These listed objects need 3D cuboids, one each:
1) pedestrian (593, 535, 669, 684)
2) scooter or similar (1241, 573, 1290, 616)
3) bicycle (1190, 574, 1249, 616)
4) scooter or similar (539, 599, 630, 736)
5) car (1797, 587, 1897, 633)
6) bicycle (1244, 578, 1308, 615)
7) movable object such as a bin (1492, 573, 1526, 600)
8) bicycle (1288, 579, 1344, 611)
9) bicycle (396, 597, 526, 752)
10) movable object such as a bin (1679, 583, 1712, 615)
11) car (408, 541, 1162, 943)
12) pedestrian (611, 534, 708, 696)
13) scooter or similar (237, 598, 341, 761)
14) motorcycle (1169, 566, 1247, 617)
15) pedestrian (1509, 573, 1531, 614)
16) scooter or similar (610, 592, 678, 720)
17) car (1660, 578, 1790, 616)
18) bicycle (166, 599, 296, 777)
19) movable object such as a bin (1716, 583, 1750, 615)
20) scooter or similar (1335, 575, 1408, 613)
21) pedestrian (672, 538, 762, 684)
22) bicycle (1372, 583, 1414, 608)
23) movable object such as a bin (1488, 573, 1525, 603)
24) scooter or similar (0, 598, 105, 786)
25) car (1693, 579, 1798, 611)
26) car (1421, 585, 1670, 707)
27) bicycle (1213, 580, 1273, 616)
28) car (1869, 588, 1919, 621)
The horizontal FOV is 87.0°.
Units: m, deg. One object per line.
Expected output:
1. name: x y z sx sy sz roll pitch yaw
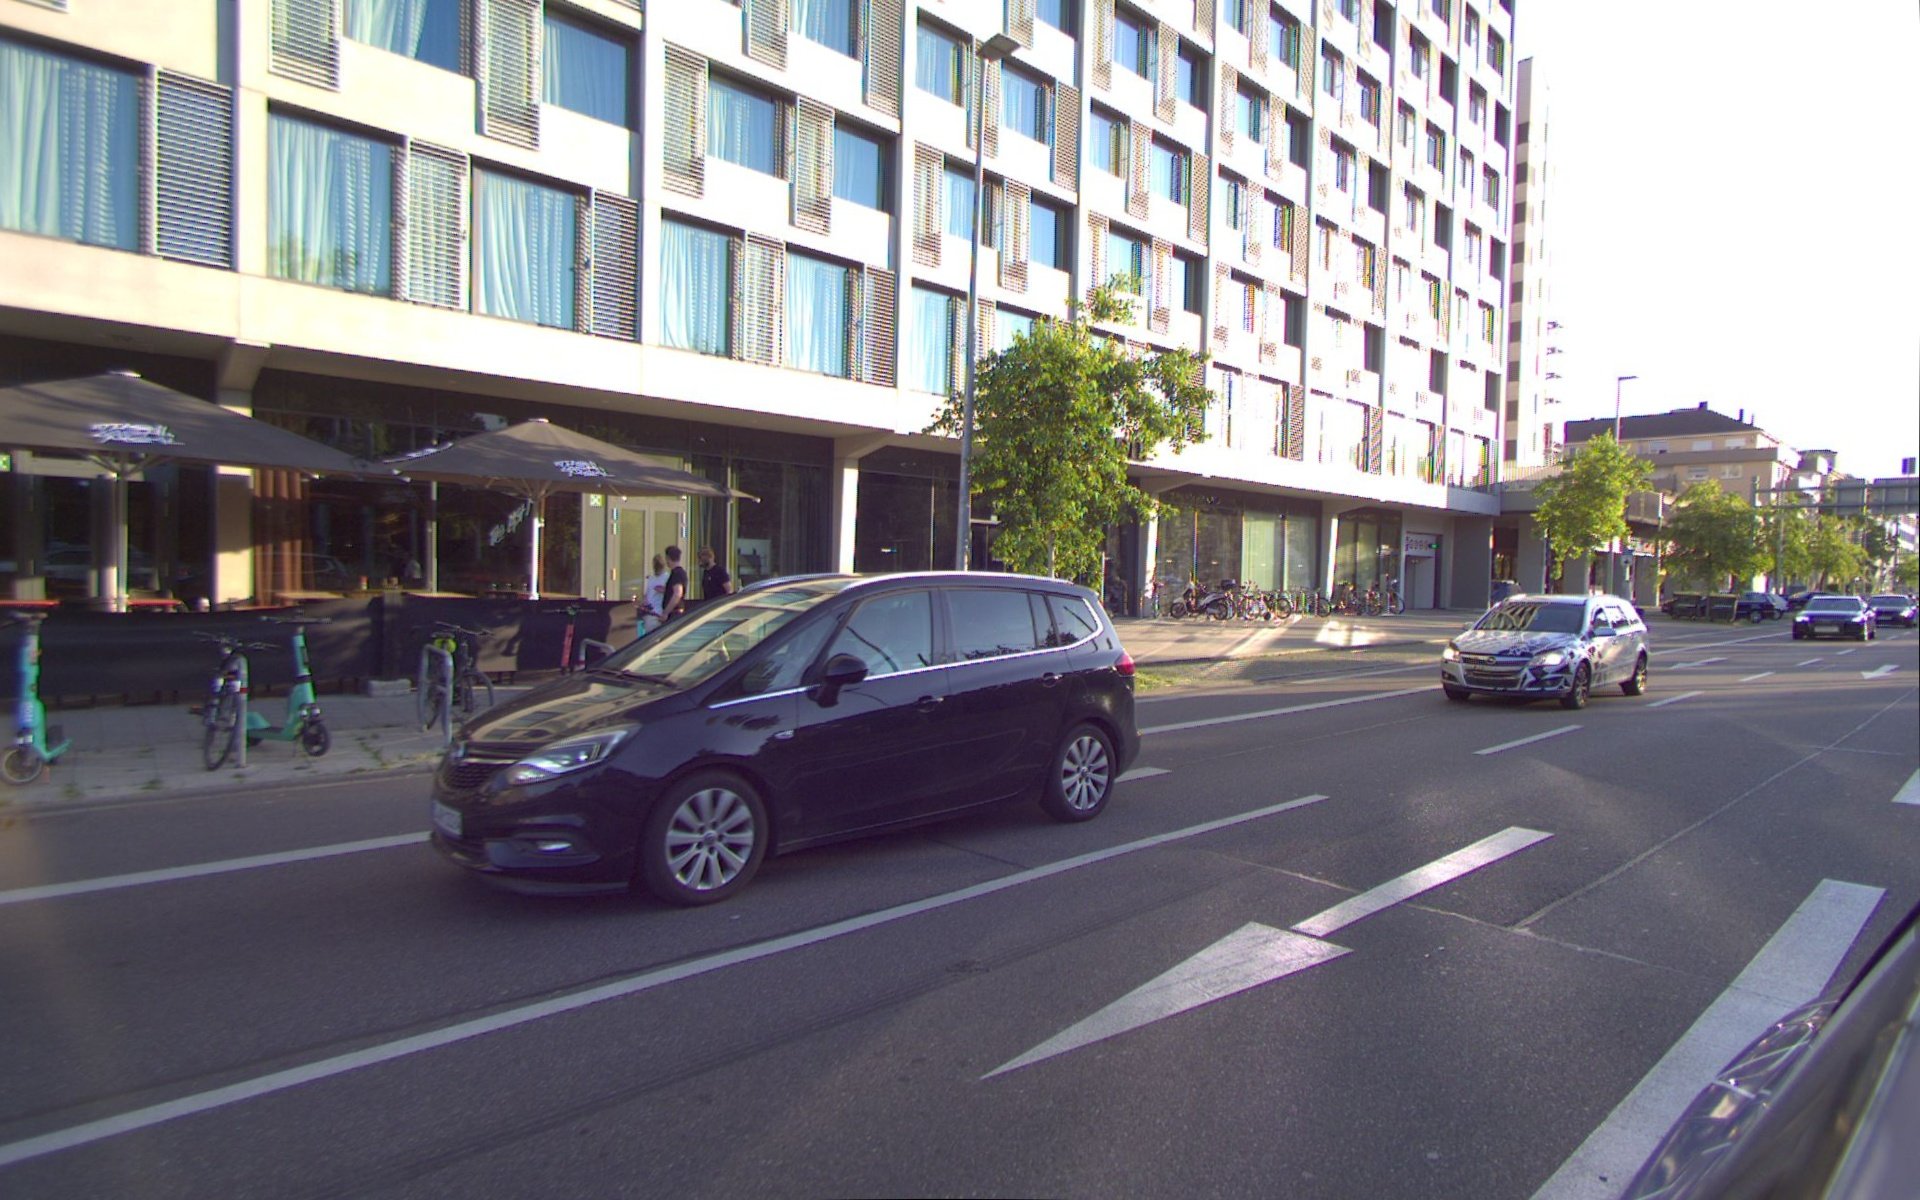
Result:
1. pedestrian: -4.236 0.107 13.006 0.762 1.833 0.621 0 5 -33
2. scooter or similar: 9.517 -0.184 31.514 1.268 1.248 0.599 5 3 44
3. bicycle: 7.971 -0.169 31.091 1.602 1.168 0.604 4 3 36
4. scooter or similar: -3.818 0.645 10.257 0.501 1.205 1.159 -2 5 -40
5. car: 28.933 0.302 32.972 4.202 1.413 1.913 0 0 -41
6. bicycle: 10.195 -0.127 32.691 0.556 1.022 1.888 0 5 -44
7. movable object such as a bin: 28.083 -0.703 51.758 1.283 1.315 1.183 0 2 -44
8. bicycle: 12.160 -0.178 34.601 0.542 0.998 1.701 0 4 -45
9. bicycle: -4.762 0.641 9.589 0.598 1.196 1.850 0 4 -42
10. movable object such as a bin: 33.760 -0.038 46.426 1.014 1.363 1.143 6 4 43
11. car: -0.784 0.555 6.223 4.293 1.619 1.825 0 0 -43
12. pedestrian: -3.672 0.151 12.355 0.922 1.871 0.747 0 4 -33
13. scooter or similar: -5.778 0.636 8.688 1.210 1.216 0.472 5 4 43
14. motorcycle: 7.421 -0.272 30.312 2.105 1.403 0.664 4 2 34
15. pedestrian: 23.406 -0.271 42.274 0.576 1.638 0.632 5 3 45
16. scooter or similar: -3.448 0.575 10.991 0.521 1.228 1.134 -1 4 -27
17. car: 37.315 -0.174 49.474 4.592 1.526 1.936 3 3 9
18. bicycle: -6.109 0.663 8.442 1.794 1.208 0.559 6 4 44
19. movable object such as a bin: 34.741 -0.051 45.475 1.084 1.317 1.341 5 4 41
20. scooter or similar: 14.878 -0.235 36.630 0.610 1.197 2.376 0 3 -42
21. pedestrian: -3.228 0.120 13.425 0.922 1.846 0.759 0 3 -33
22. bicycle: 16.736 -0.173 39.118 0.449 0.902 1.423 0 2 -42
23. movable object such as a bin: 25.834 -0.558 47.827 1.261 1.346 1.106 0 4 -43
24. scooter or similar: -6.872 0.643 7.600 0.539 1.238 1.066 0 4 -32
25. car: 41.869 -0.278 54.013 3.927 1.433 1.747 3 3 10
26. car: 8.446 0.550 14.446 4.228 1.482 1.831 0 0 -41
27. bicycle: 8.780 -0.067 31.399 0.542 0.998 1.701 0 4 -45
28. car: 42.042 0.188 45.328 1.858 1.413 4.209 0 0 44
